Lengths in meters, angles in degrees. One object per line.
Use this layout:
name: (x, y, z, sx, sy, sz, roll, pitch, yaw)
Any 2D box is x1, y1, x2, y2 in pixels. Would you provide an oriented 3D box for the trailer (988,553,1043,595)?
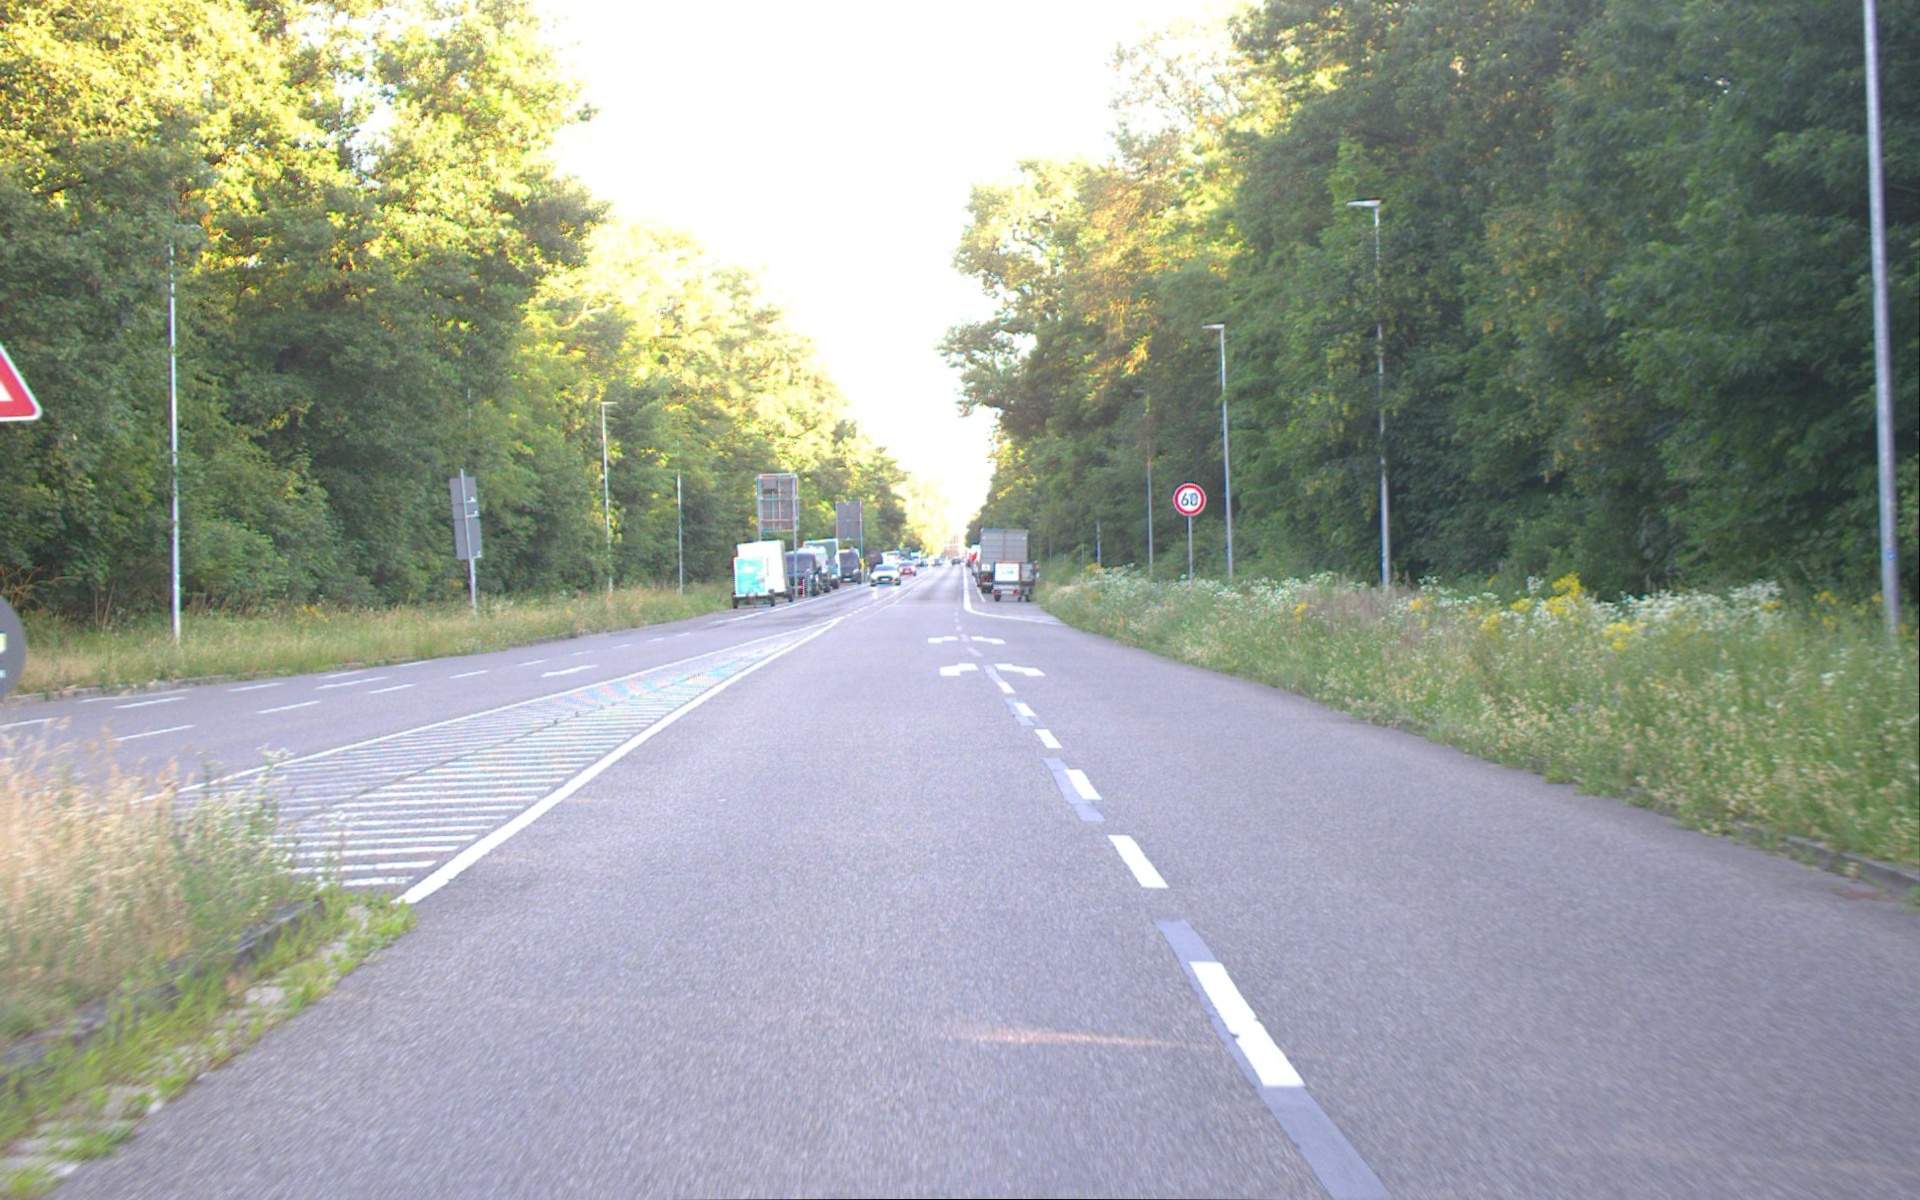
trailer: (2.316, -1.095, 141.831, 1.457, 1.656, 3.775, -2, 1, 13)

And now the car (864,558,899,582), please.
car: (-5.270, -2.024, 231.010, 2.063, 1.430, 4.465, -4, 1, 2)

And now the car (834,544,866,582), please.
car: (-8.351, -2.817, 260.752, 2.186, 2.779, 5.334, -2, 1, 0)

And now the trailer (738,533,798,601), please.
trailer: (-8.767, -1.517, 157.674, 2.326, 2.914, 5.627, -3, 1, -1)

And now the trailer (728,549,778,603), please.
trailer: (-8.540, -0.997, 142.064, 1.817, 2.160, 4.143, -2, 1, -1)

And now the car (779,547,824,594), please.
car: (-8.447, -1.595, 183.756, 1.993, 2.356, 5.766, -4, 1, 0)

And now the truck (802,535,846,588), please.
truck: (-8.894, -2.564, 226.108, 2.504, 3.317, 6.842, -2, 1, 0)

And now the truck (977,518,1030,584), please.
truck: (2.213, -2.469, 174.160, 2.589, 3.244, 7.220, 0, 0, 1)
